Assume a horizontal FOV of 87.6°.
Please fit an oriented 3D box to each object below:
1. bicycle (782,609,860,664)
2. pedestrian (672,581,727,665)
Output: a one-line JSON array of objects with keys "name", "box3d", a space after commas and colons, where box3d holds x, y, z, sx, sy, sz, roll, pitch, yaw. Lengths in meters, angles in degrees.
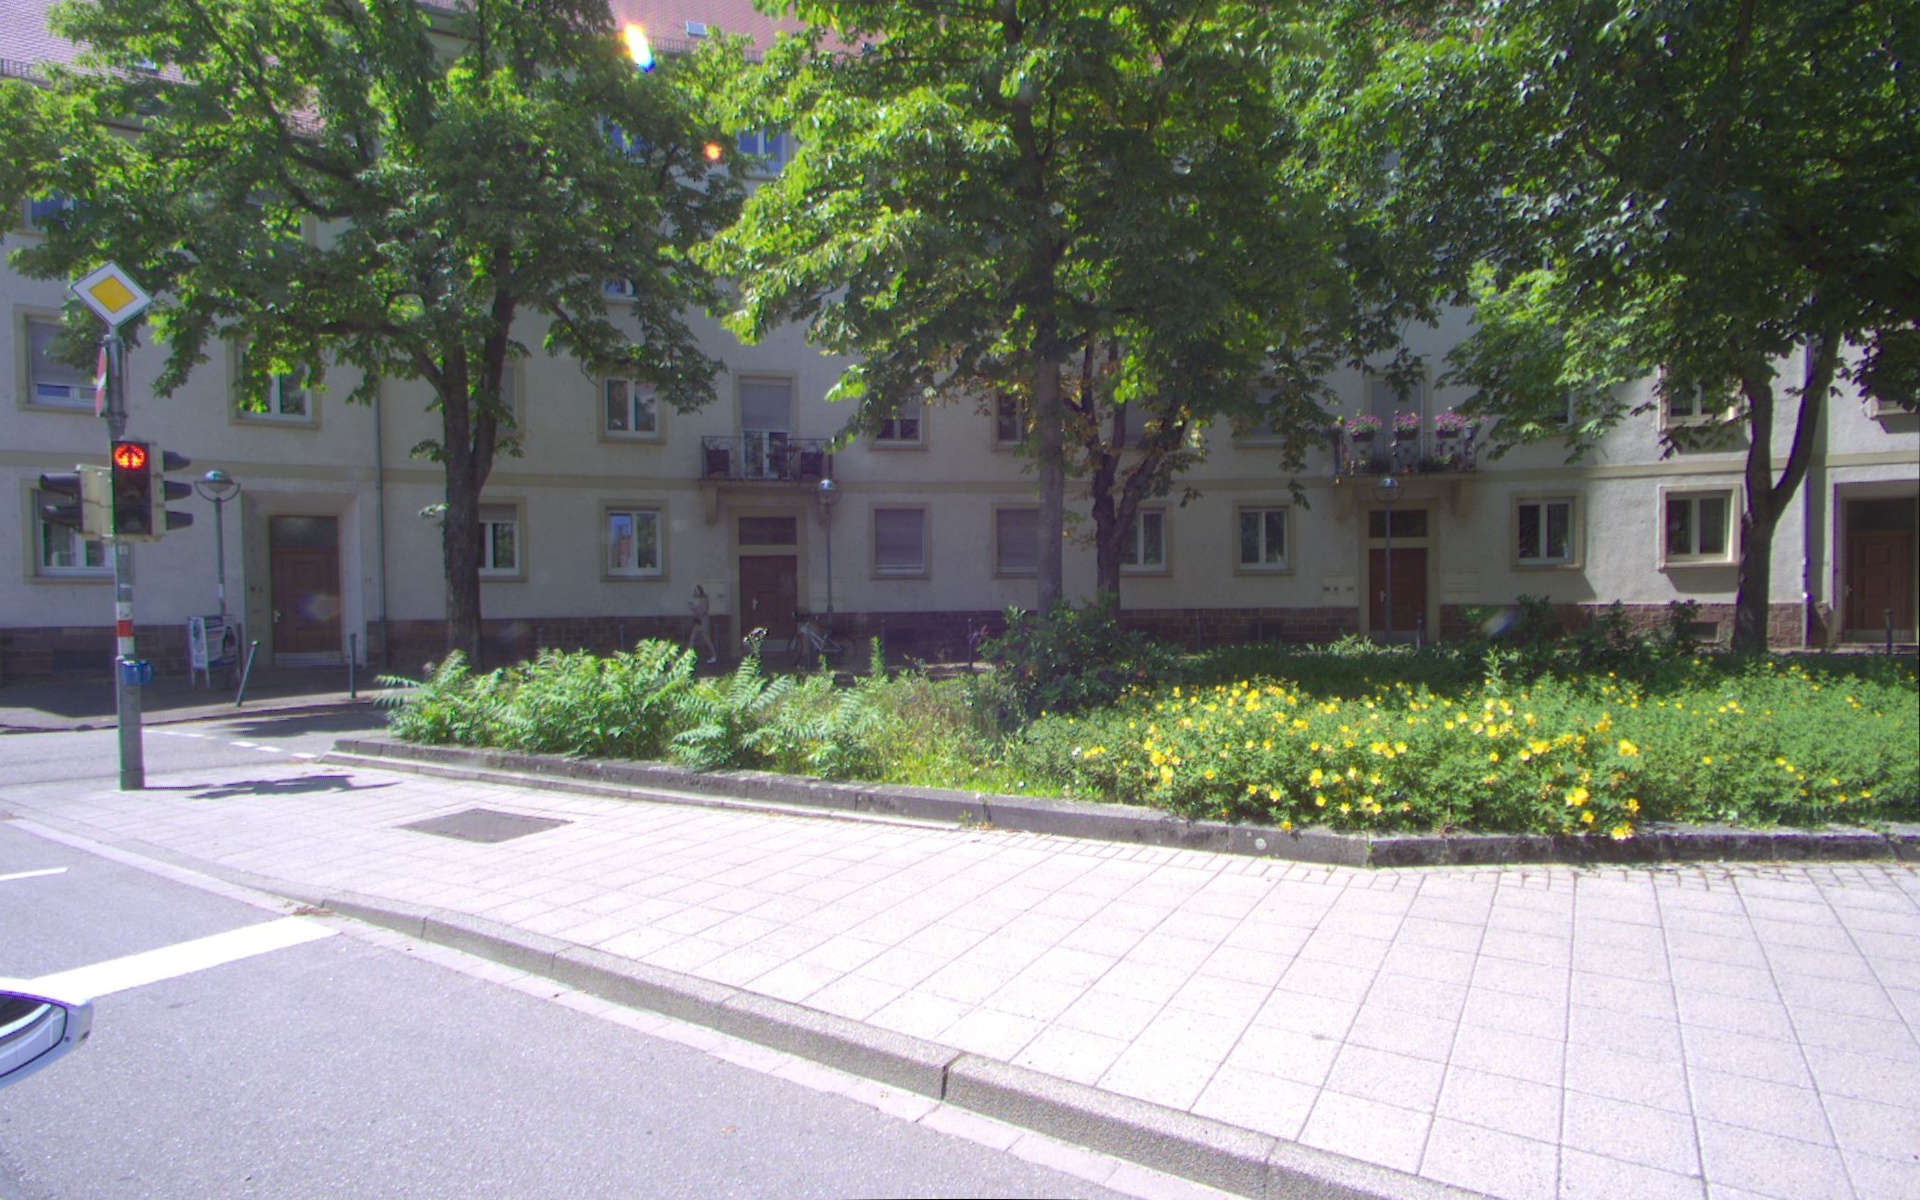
[{"name": "bicycle", "box3d": [-2.886, 0.758, 20.875, 1.575, 1.119, 0.525, -1, 1, -4]}, {"name": "pedestrian", "box3d": [-5.706, 0.494, 21.925, 1.039, 1.715, 0.651, -3, 7, -20]}]
